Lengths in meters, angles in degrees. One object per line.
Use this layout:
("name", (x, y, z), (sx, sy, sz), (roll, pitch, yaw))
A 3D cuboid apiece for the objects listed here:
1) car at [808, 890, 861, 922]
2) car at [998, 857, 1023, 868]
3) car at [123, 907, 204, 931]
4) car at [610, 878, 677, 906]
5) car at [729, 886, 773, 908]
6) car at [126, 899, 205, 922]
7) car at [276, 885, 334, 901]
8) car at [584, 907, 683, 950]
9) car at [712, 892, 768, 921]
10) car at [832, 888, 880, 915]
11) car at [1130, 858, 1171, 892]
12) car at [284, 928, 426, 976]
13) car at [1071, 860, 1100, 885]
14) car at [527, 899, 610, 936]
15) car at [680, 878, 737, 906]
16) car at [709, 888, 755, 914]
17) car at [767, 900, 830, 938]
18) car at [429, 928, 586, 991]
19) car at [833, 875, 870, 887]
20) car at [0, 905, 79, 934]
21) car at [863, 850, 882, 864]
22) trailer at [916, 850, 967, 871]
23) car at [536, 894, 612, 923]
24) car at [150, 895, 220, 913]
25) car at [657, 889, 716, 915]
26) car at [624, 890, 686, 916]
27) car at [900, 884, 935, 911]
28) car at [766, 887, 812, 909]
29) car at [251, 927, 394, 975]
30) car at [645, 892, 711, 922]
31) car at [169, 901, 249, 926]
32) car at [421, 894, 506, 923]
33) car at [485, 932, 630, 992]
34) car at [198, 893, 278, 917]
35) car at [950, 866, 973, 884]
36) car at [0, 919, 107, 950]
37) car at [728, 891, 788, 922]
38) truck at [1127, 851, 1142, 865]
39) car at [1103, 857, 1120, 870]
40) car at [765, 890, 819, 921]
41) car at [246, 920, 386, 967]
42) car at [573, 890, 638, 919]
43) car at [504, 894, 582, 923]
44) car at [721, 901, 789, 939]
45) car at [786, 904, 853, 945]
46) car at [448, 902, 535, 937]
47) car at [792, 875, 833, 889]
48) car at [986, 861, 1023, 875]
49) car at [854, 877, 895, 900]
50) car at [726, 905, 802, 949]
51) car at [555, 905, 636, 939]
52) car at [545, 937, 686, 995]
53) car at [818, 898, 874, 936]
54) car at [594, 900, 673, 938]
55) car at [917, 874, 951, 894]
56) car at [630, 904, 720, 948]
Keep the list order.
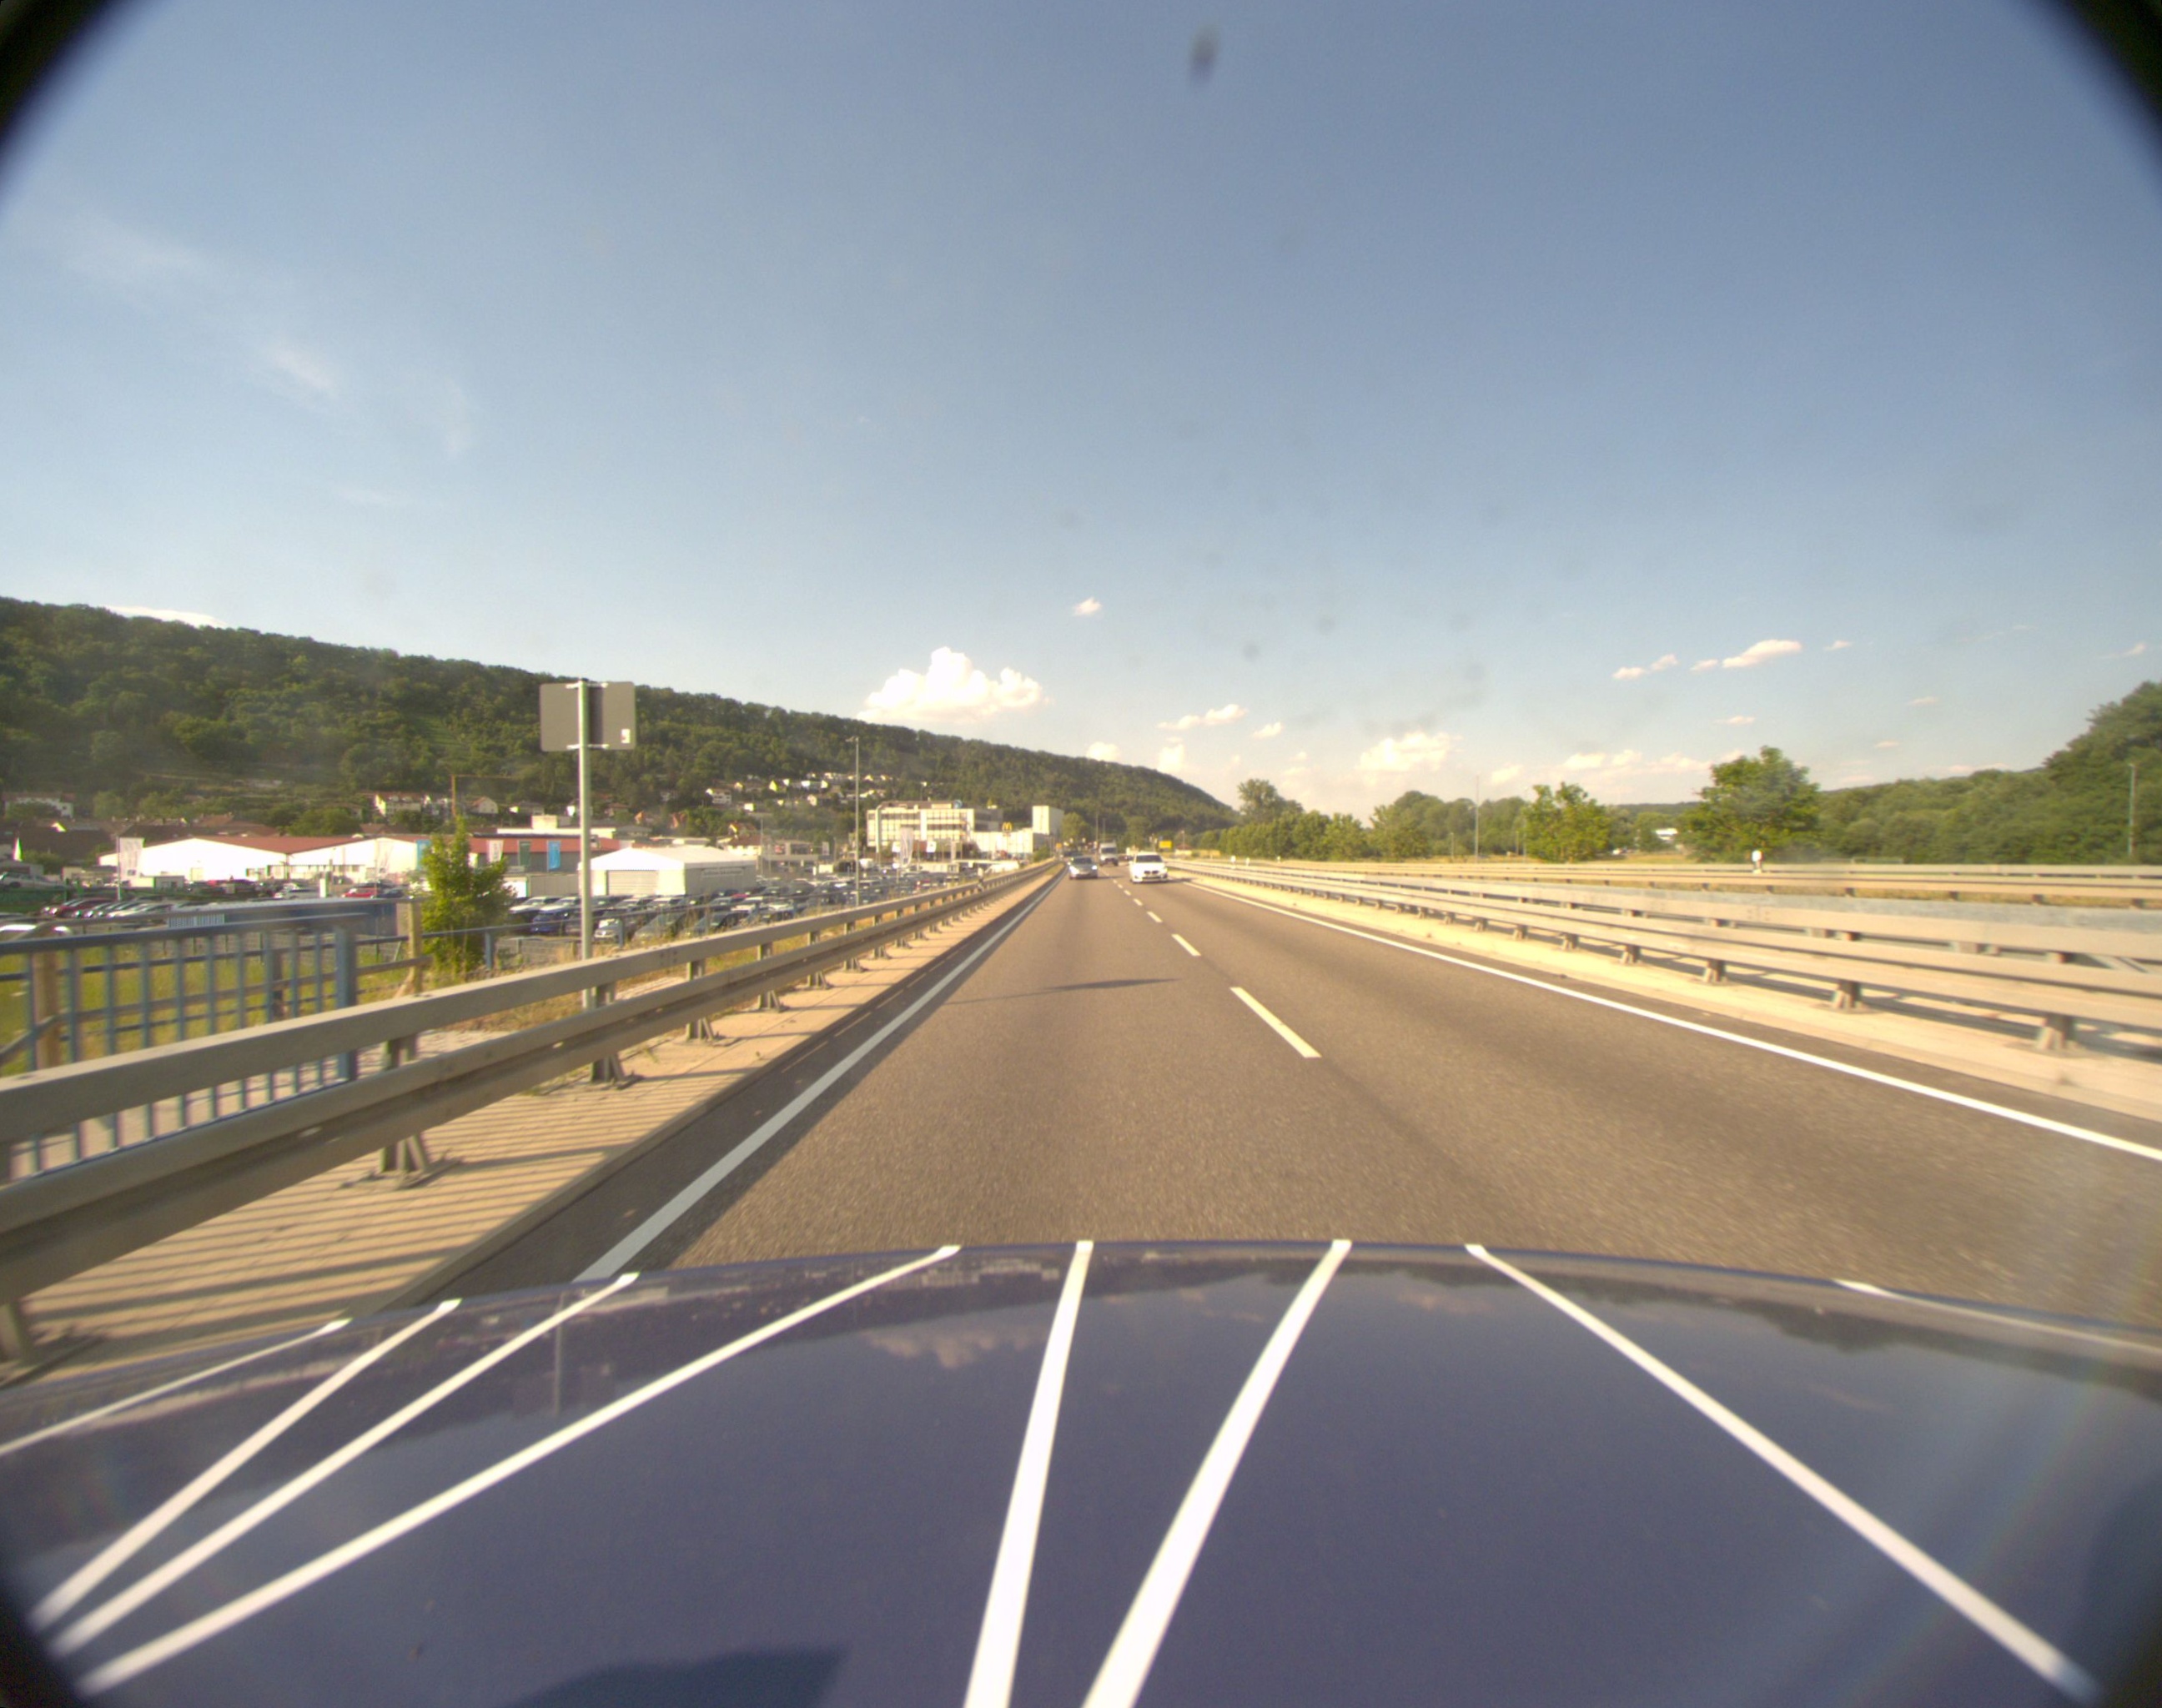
("car", (-16.520, 3.461, 51.221), (2.004, 1.641, 4.728), (-2, 1, -1))
("car", (-12.245, 1.463, 131.384), (3.996, 1.740, 1.901), (-2, 1, 2))
("car", (-74.990, 5.265, 62.170), (1.748, 1.568, 3.785), (-2, 1, 22))
("car", (-31.474, 2.720, 54.823), (1.884, 1.627, 4.730), (-2, 1, 3))
("car", (-29.690, 3.832, 68.565), (1.778, 1.674, 4.001), (-2, 1, 7))
("car", (-76.627, 4.714, 63.666), (1.748, 1.568, 3.785), (-2, 1, 22))
("car", (-87.406, 4.400, 85.663), (1.586, 1.494, 4.233), (-2, 1, 23))
("car", (-22.069, 3.651, 37.653), (1.956, 1.634, 4.003), (-2, 1, 13))
("car", (-24.046, 3.695, 53.755), (1.778, 1.674, 4.001), (-2, 1, 7))
("car", (-17.173, 3.567, 58.162), (1.884, 1.627, 4.730), (-2, 1, 5))
("car", (3.599, 1.069, 39.925), (1.825, 1.551, 3.999), (-2, 1, 1))
("car", (-30.928, 4.154, 32.549), (1.708, 1.455, 4.004), (-2, 1, 16))
("car", (0.308, 1.154, 48.098), (1.690, 1.383, 3.883), (-1, 1, 1))
("car", (-29.472, 3.631, 43.881), (1.779, 1.674, 4.001), (-2, 1, 5))
("car", (-26.523, 2.664, 54.257), (1.779, 1.674, 4.001), (-2, 1, 5))
("car", (-31.811, 4.258, 69.373), (1.778, 1.674, 4.001), (10, 2, 6))
("car", (-15.647, 3.561, 42.296), (1.779, 1.674, 4.000), (-2, 1, 3))
("car", (-20.864, 3.787, 27.883), (1.956, 1.632, 4.247), (-2, 1, 13))
("car", (-31.318, 3.651, 103.692), (4.427, 1.361, 1.801), (-2, 1, 8))
("car", (-71.910, 4.473, 51.901), (1.749, 1.568, 3.784), (-2, 1, 17))
("car", (-41.254, 0.546, 150.230), (1.759, 2.535, 5.470), (-2, 1, 4))
("trailer", (-24.265, 1.128, 132.588), (7.897, 3.304, 3.359), (-2, 1, 5))
("car", (-36.204, 3.873, 54.387), (1.884, 1.627, 4.730), (-2, 1, 5))
("car", (-86.394, 4.791, 73.286), (1.586, 1.343, 4.006), (-2, 1, 23))
("car", (-31.428, 3.793, 60.675), (1.883, 1.627, 4.731), (-1, 1, 6))
("car", (-33.876, 3.865, 60.635), (1.883, 1.627, 4.731), (-2, 1, 6))
("car", (-12.189, 3.197, 56.827), (1.616, 1.669, 3.836), (-2, 1, 3))
("car", (-26.786, 4.014, 69.894), (1.883, 1.627, 4.731), (-2, 1, 6))
("car", (-32.840, 4.163, 33.069), (1.708, 1.455, 4.004), (-2, 1, 16))
("car", (-28.835, 3.771, 54.595), (1.884, 1.627, 4.730), (-2, 1, 4))
("car", (-70.139, 4.776, 61.151), (1.748, 1.568, 3.785), (-2, 1, 22))
("car", (-44.521, 3.898, 54.947), (1.884, 1.627, 4.730), (-2, 1, 5))
("car", (-18.505, 3.770, 27.110), (1.820, 1.490, 4.003), (-2, 1, 14))
("car", (-66.269, 3.989, 59.781), (1.748, 1.568, 3.785), (-2, 1, 22))
("car", (-12.406, 2.172, 79.023), (1.885, 1.616, 4.727), (-2, 1, -4))
("car", (-67.614, 5.251, 50.067), (1.749, 1.568, 3.784), (-2, 1, 17))
("car", (-22.032, 3.567, 52.103), (1.884, 1.627, 4.729), (-2, 1, 2))
("truck", (13.557, 0.977, 192.434), (2.940, 3.476, 10.497), (0, 1, 0))
("car", (3.385, 1.032, 84.649), (1.690, 1.383, 3.883), (-1, 1, 1))
("car", (-19.667, 3.464, 51.889), (1.840, 1.706, 4.666), (-2, 1, -1))
("car", (-34.577, 4.013, 34.503), (1.956, 1.585, 4.003), (-2, 1, 13))
("car", (-33.655, 3.528, 53.913), (1.779, 1.674, 4.001), (-2, 1, 5))
("car", (-38.471, 3.864, 54.483), (1.884, 1.627, 4.730), (-2, 1, 5))
("car", (-18.088, 3.636, 42.348), (1.779, 1.674, 4.000), (-2, 1, 4))
("car", (-12.353, 3.310, 36.176), (1.710, 1.455, 3.999), (-2, 1, 1))
("car", (-34.607, 3.815, 44.780), (1.709, 1.594, 4.001), (-2, 1, 5))
("car", (-33.772, 3.492, 95.672), (4.427, 1.534, 1.801), (-2, 1, 8))
("car", (-12.749, 2.308, 126.509), (5.895, 2.002, 2.000), (-2, 1, 3))
("car", (-19.794, 3.281, 72.982), (1.883, 1.920, 4.732), (-2, 1, 10))
("car", (-14.876, 3.394, 35.861), (1.710, 1.554, 4.000), (-2, 1, 3))
("car", (-27.404, 3.822, 43.076), (1.709, 1.455, 4.001), (-2, 1, 5))
("car", (-16.117, 3.856, 26.562), (1.820, 1.346, 4.003), (-2, 1, 14))
("car", (-13.244, 3.522, 42.986), (1.779, 1.674, 4.000), (-2, 1, 1))
("car", (-25.203, 3.608, 42.939), (1.779, 1.674, 4.001), (-2, 1, 5))
("car", (-14.089, 2.861, 73.227), (1.884, 1.616, 4.731), (-2, 1, 5))
("car", (-19.887, 3.475, 37.429), (1.709, 1.614, 4.355), (-2, 1, 5))
